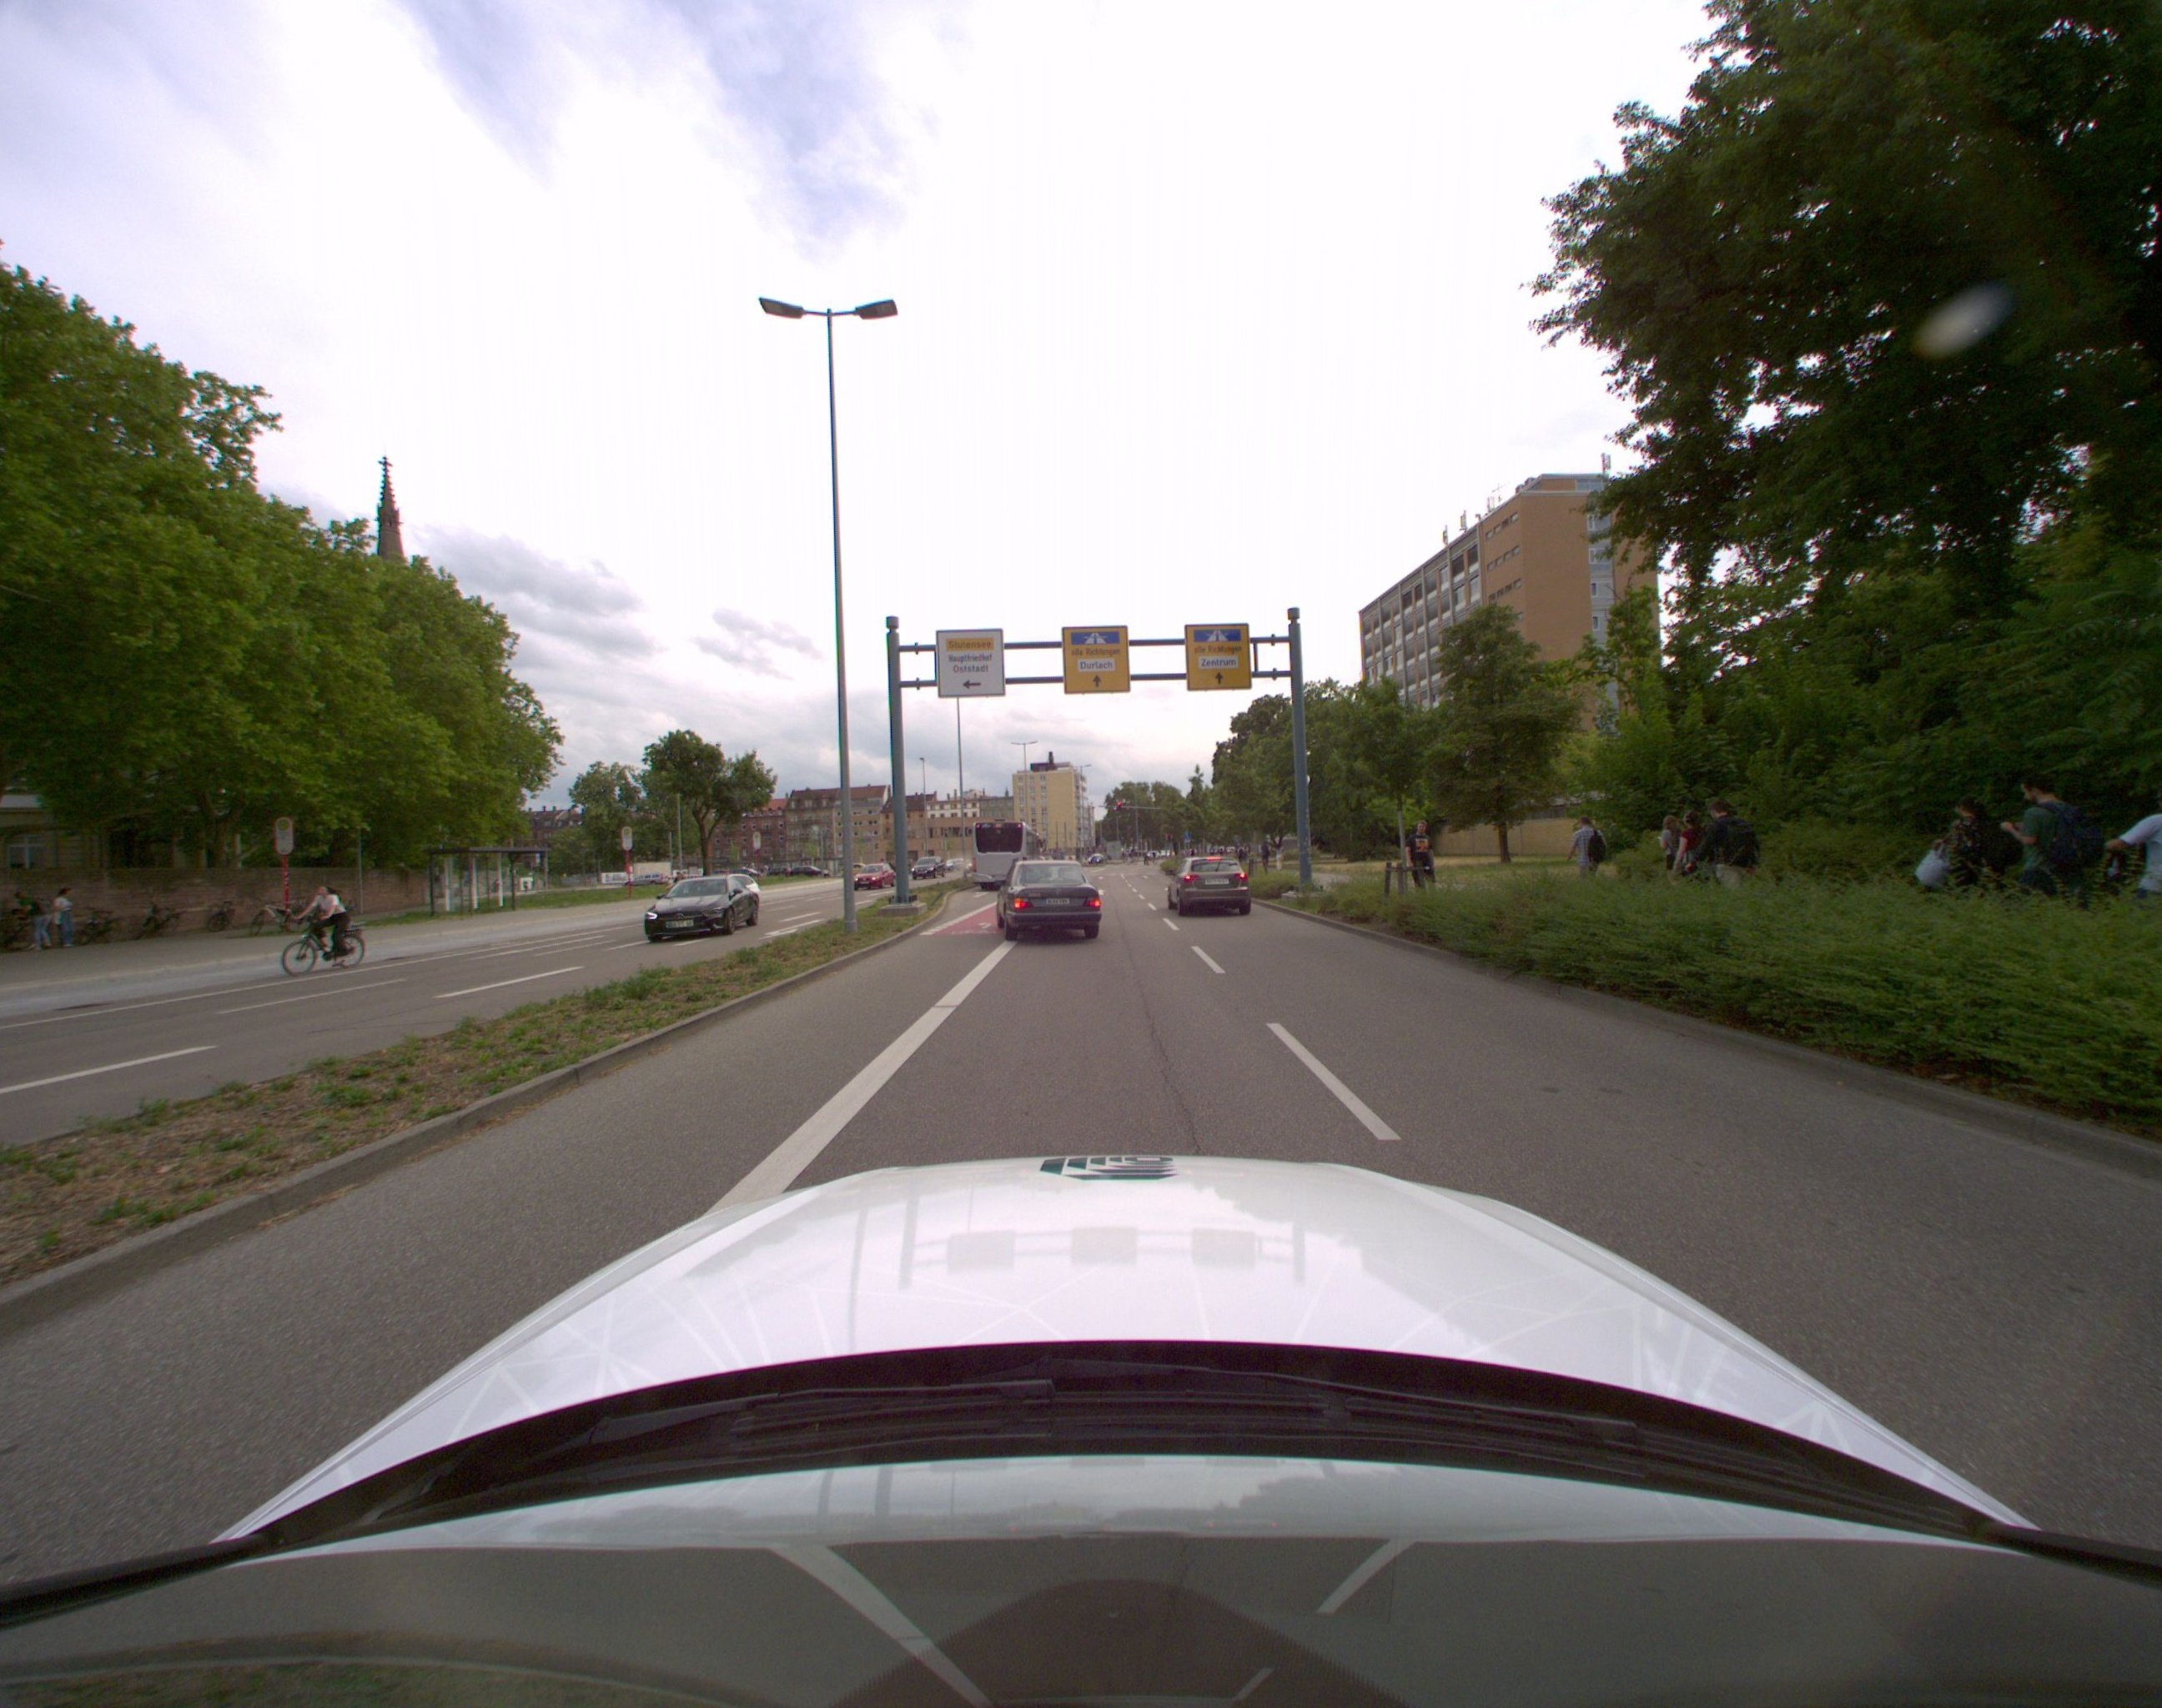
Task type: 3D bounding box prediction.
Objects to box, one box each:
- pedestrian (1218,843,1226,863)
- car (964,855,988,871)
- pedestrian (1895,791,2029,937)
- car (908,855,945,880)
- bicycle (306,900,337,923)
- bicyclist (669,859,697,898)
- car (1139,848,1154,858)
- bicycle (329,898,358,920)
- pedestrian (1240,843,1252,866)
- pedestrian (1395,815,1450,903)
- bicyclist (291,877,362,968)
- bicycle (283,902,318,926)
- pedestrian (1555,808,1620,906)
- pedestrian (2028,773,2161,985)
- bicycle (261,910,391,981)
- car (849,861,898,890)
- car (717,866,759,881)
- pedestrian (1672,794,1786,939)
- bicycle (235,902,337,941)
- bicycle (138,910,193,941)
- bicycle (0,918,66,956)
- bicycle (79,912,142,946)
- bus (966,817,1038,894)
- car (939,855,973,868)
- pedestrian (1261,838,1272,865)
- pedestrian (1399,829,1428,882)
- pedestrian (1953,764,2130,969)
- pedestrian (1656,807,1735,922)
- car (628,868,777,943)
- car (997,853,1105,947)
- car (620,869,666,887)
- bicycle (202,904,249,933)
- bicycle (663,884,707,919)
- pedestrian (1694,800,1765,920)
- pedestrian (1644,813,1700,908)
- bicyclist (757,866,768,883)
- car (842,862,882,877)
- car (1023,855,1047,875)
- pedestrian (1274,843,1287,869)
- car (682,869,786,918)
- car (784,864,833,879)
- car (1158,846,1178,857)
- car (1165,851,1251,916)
[{"bbox_3d":[14.571,-0.112,84.237,0.612,2.013,0.597,-2,0,-1],"label":"pedestrian"},{"bbox_3d":[-10.156,0.871,78.771,1.664,1.389,3.923,-3,0,1],"label":"car"},{"bbox_3d":[10.112,0.112,9.375,0.633,1.583,0.785,-3,0,1],"label":"pedestrian"},{"bbox_3d":[-11.667,1.008,61.769,1.796,1.665,4.300,-4,0,1],"label":"car"},{"bbox_3d":[-33.185,2.486,35.602,0.483,0.907,1.608,0,-1,-23],"label":"bicycle"},{"bbox_3d":[-15.103,0.931,30.943,0.578,1.419,0.812,-2,0,3],"label":"bicyclist"},{"bbox_3d":[12.082,-0.153,150.255,1.980,1.703,4.015,-2,0,13],"label":"car"},{"bbox_3d":[-33.905,2.511,37.460,0.483,0.907,1.608,0,-1,-23],"label":"bicycle"},{"bbox_3d":[12.660,0.047,62.417,0.796,1.713,0.768,-3,0,14],"label":"pedestrian"},{"bbox_3d":[7.382,0.109,17.586,0.925,1.830,0.892,-3,0,28],"label":"pedestrian"},{"bbox_3d":[-15.652,1.405,16.911,0.615,1.782,0.812,-2,0,5],"label":"bicyclist"},{"bbox_3d":[-32.231,2.456,33.640,0.483,0.907,1.608,0,-1,-23],"label":"bicycle"},{"bbox_3d":[9.347,0.055,15.054,0.617,1.735,0.815,-3,0,1],"label":"pedestrian"},{"bbox_3d":[8.533,0.167,6.569,0.773,1.602,0.812,-3,0,1],"label":"pedestrian"},{"bbox_3d":[-15.630,1.854,16.944,0.615,1.217,2.048,-2,0,6],"label":"bicycle"},{"bbox_3d":[-12.341,1.255,48.745,1.796,1.489,4.287,-3,0,-1],"label":"car"},{"bbox_3d":[-36.018,2.024,85.618,3.757,1.394,1.582,-1,0,-5],"label":"car"},{"bbox_3d":[8.575,0.157,10.820,0.690,1.821,0.954,-3,0,1],"label":"pedestrian"},{"bbox_3d":[-23.606,1.983,24.260,0.467,0.918,2.345,-2,0,9],"label":"bicycle"},{"bbox_3d":[-29.343,2.284,26.131,0.442,0.878,1.610,0,-1,-20],"label":"bicycle"},{"bbox_3d":[-27.874,2.182,21.618,0.347,0.878,1.513,0,-1,-16],"label":"bicycle"},{"bbox_3d":[-28.619,2.195,24.043,0.442,0.878,1.610,0,-1,-20],"label":"bicycle"},{"bbox_3d":[-3.820,0.044,41.122,2.823,3.390,8.179,-2,0,-1],"label":"bus"},{"bbox_3d":[-14.715,0.872,96.048,3.704,1.394,1.565,-1,0,-42],"label":"car"},{"bbox_3d":[12.018,-0.155,52.748,0.641,1.713,0.564,-3,0,16],"label":"pedestrian"},{"bbox_3d":[10.714,0.048,26.261,0.585,1.682,0.748,-3,0,1],"label":"pedestrian"},{"bbox_3d":[9.105,0.114,7.760,0.653,1.821,0.812,-3,0,1],"label":"pedestrian"},{"bbox_3d":[9.240,0.147,12.272,0.553,1.655,0.754,-3,0,1],"label":"pedestrian"},{"bbox_3d":[-9.203,1.187,20.248,1.798,1.489,4.400,-3,0,-4],"label":"car"},{"bbox_3d":[-0.706,0.761,15.733,1.759,1.489,4.162,-3,0,-6],"label":"car"},{"bbox_3d":[-48.468,2.644,90.164,4.148,1.649,1.644,-3,0,-6],"label":"car"},{"bbox_3d":[-30.509,2.281,29.061,0.483,0.907,1.609,-3,0,-22],"label":"bicycle"},{"bbox_3d":[-15.085,1.795,31.079,0.579,1.170,1.965,-2,0,2],"label":"bicycle"},{"bbox_3d":[9.961,0.088,12.529,0.482,1.763,0.664,-3,0,1],"label":"pedestrian"},{"bbox_3d":[10.536,0.114,14.527,0.466,1.633,0.653,-3,0,1],"label":"pedestrian"},{"bbox_3d":[-32.542,2.088,83.186,0.785,1.643,0.571,-3,0,-5],"label":"bicyclist"},{"bbox_3d":[-23.347,1.675,86.782,3.849,1.517,1.658,-1,0,-5],"label":"car"},{"bbox_3d":[-3.394,0.783,60.409,1.650,1.396,3.857,-3,0,-2],"label":"car"},{"bbox_3d":[11.615,0.139,47.418,0.652,1.470,0.564,-3,0,18],"label":"pedestrian"},{"bbox_3d":[-12.595,1.368,29.891,1.795,1.489,4.417,-2,0,1],"label":"car"},{"bbox_3d":[-28.777,1.805,86.164,4.661,1.475,1.657,-1,0,-5],"label":"car"},{"bbox_3d":[18.120,-0.461,169.437,2.560,2.109,5.631,-2,0,23],"label":"car"},{"bbox_3d":[3.169,0.684,20.980,1.717,1.457,3.738,-2,0,2],"label":"car"}]
